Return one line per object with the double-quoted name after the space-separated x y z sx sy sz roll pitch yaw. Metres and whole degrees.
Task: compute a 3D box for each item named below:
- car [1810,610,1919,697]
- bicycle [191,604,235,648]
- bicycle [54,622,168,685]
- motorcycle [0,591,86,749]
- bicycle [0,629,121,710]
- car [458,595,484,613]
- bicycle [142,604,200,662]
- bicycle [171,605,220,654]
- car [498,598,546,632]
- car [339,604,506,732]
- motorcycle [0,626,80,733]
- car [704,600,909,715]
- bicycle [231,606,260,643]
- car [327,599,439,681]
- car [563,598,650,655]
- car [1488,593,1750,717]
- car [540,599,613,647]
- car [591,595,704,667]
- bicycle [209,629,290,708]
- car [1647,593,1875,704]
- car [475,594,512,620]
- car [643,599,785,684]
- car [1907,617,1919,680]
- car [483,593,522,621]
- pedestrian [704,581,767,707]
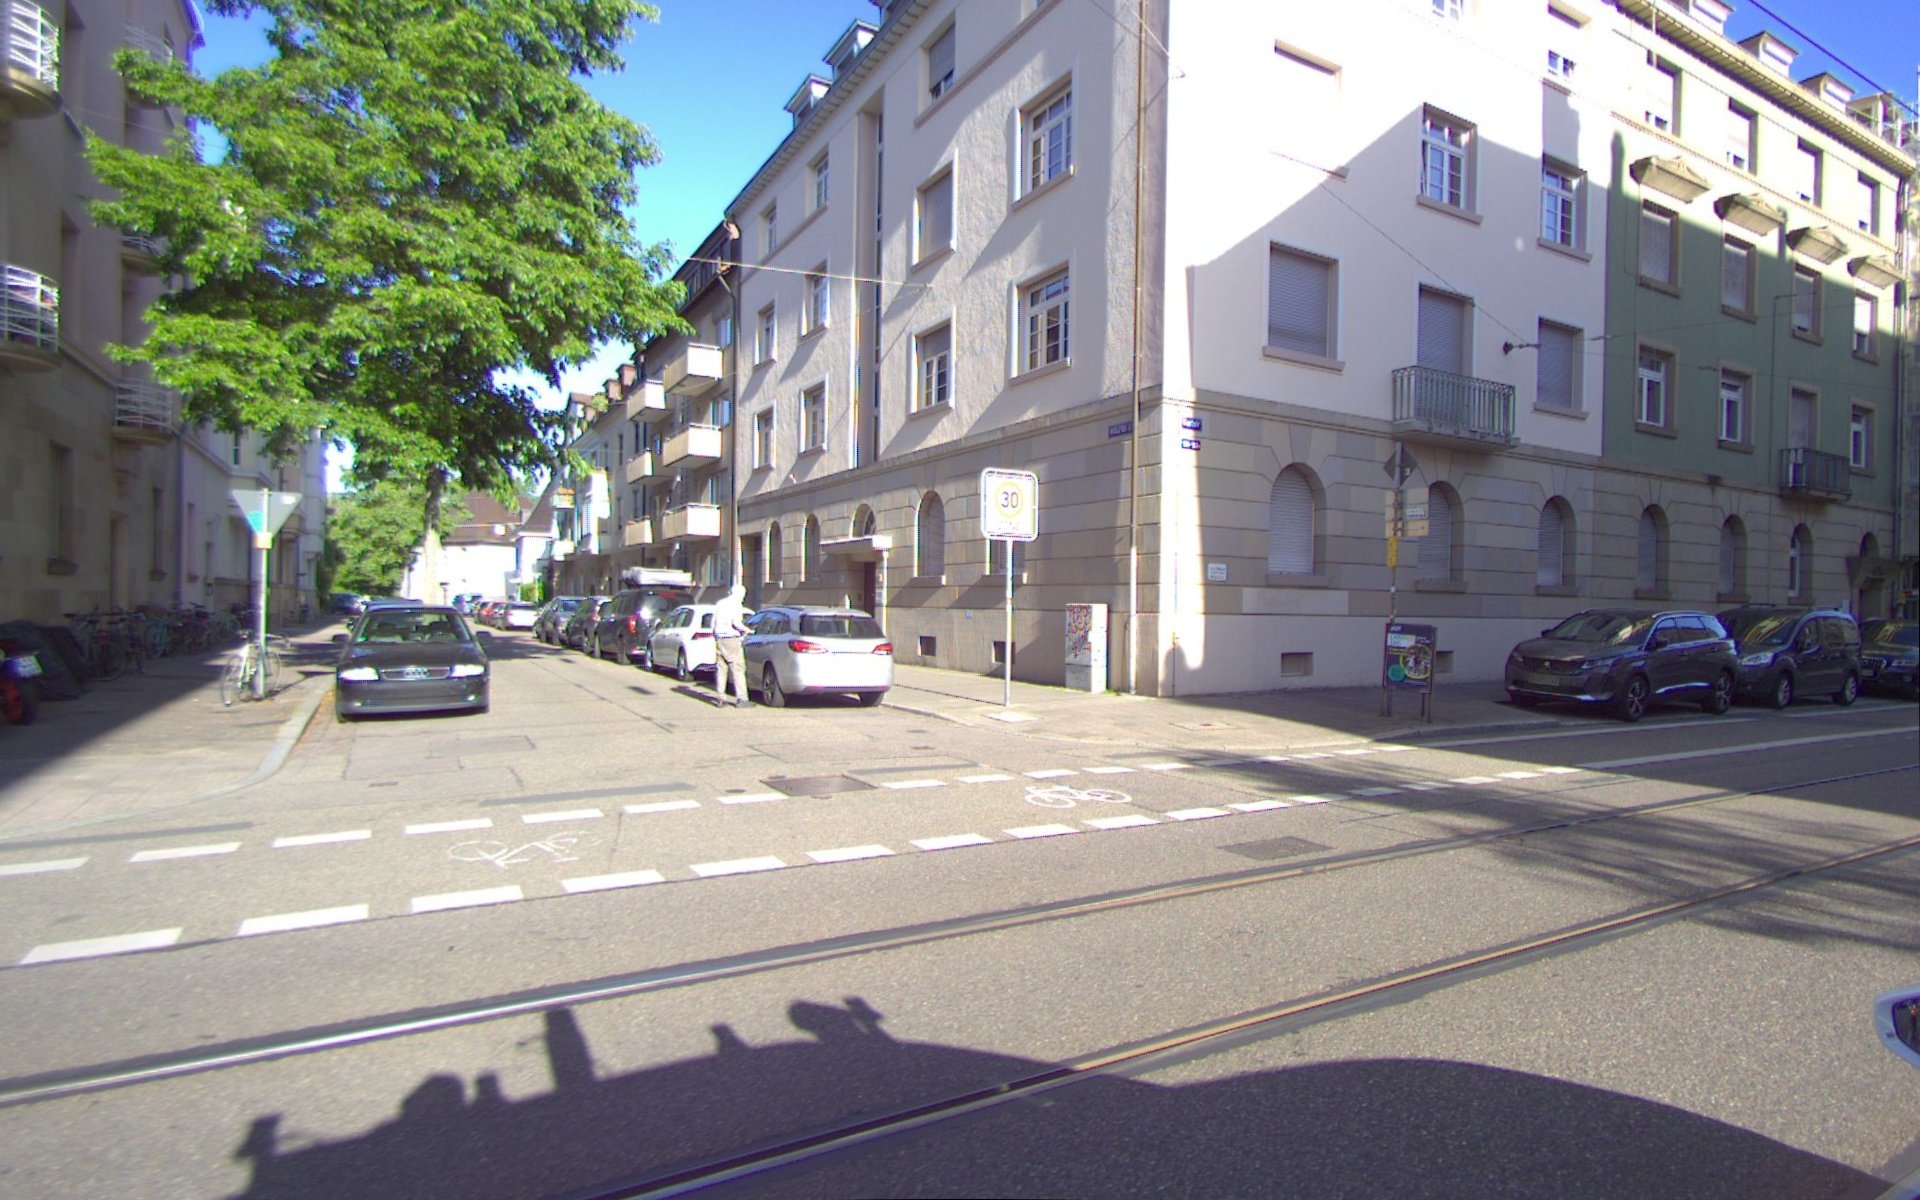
20.519 1.088 21.848 4.558 1.649 1.773 1 2 -32 "car"
-19.557 0.693 26.329 0.607 1.101 2.458 1 -2 -30 "bicycle"
-13.643 0.835 16.229 0.605 0.945 2.466 0 -2 -21 "bicycle"
-9.754 0.624 9.589 1.985 1.437 0.951 1 0 0 "motorcycle"
-11.877 0.880 13.316 0.605 0.945 1.782 0 0 -21 "bicycle"
-43.427 0.329 89.222 1.761 1.599 3.968 -1 1 -30 "car"
-16.839 0.702 21.483 0.607 1.178 2.458 1 -2 -30 "bicycle"
-18.126 0.704 23.857 0.607 1.101 2.458 1 -2 -30 "bicycle"
-22.213 0.716 50.867 1.761 1.599 3.968 -1 1 -30 "car"
-7.342 0.788 13.674 1.727 1.413 3.968 -1 1 -30 "car"
-10.403 0.812 10.708 1.995 1.049 0.557 1 0 17 "motorcycle"
-2.538 0.765 15.691 1.761 1.484 4.197 -1 1 -30 "car"
-22.180 0.774 31.186 0.608 1.101 2.456 1 -2 -33 "bicycle"
-11.427 0.706 19.942 1.727 1.413 3.968 -1 1 -30 "car"
-10.648 0.739 30.116 1.761 1.542 3.968 -1 1 -30 "car"
10.796 0.811 16.364 4.616 1.713 1.773 1 2 -32 "car"
-13.333 0.745 34.780 1.761 1.484 3.968 -1 1 -30 "car"
-7.835 0.683 24.972 1.837 1.602 3.968 -1 1 -30 "car"
-9.667 0.900 13.719 0.468 0.945 1.782 0 0 -21 "bicycle"
15.175 0.848 18.988 4.473 1.840 1.775 1 2 -29 "car"
-30.043 0.393 64.633 1.761 1.599 3.968 -1 1 -30 "car"
-5.060 0.756 20.333 1.819 1.484 3.777 -1 1 -30 "car"
25.608 1.240 24.967 4.333 1.523 1.710 1 2 -29 "car"
-27.450 0.415 60.222 1.761 1.599 3.968 -1 1 -30 "car"
-3.207 0.612 14.323 0.723 1.735 0.604 0 0 -30 "pedestrian"
